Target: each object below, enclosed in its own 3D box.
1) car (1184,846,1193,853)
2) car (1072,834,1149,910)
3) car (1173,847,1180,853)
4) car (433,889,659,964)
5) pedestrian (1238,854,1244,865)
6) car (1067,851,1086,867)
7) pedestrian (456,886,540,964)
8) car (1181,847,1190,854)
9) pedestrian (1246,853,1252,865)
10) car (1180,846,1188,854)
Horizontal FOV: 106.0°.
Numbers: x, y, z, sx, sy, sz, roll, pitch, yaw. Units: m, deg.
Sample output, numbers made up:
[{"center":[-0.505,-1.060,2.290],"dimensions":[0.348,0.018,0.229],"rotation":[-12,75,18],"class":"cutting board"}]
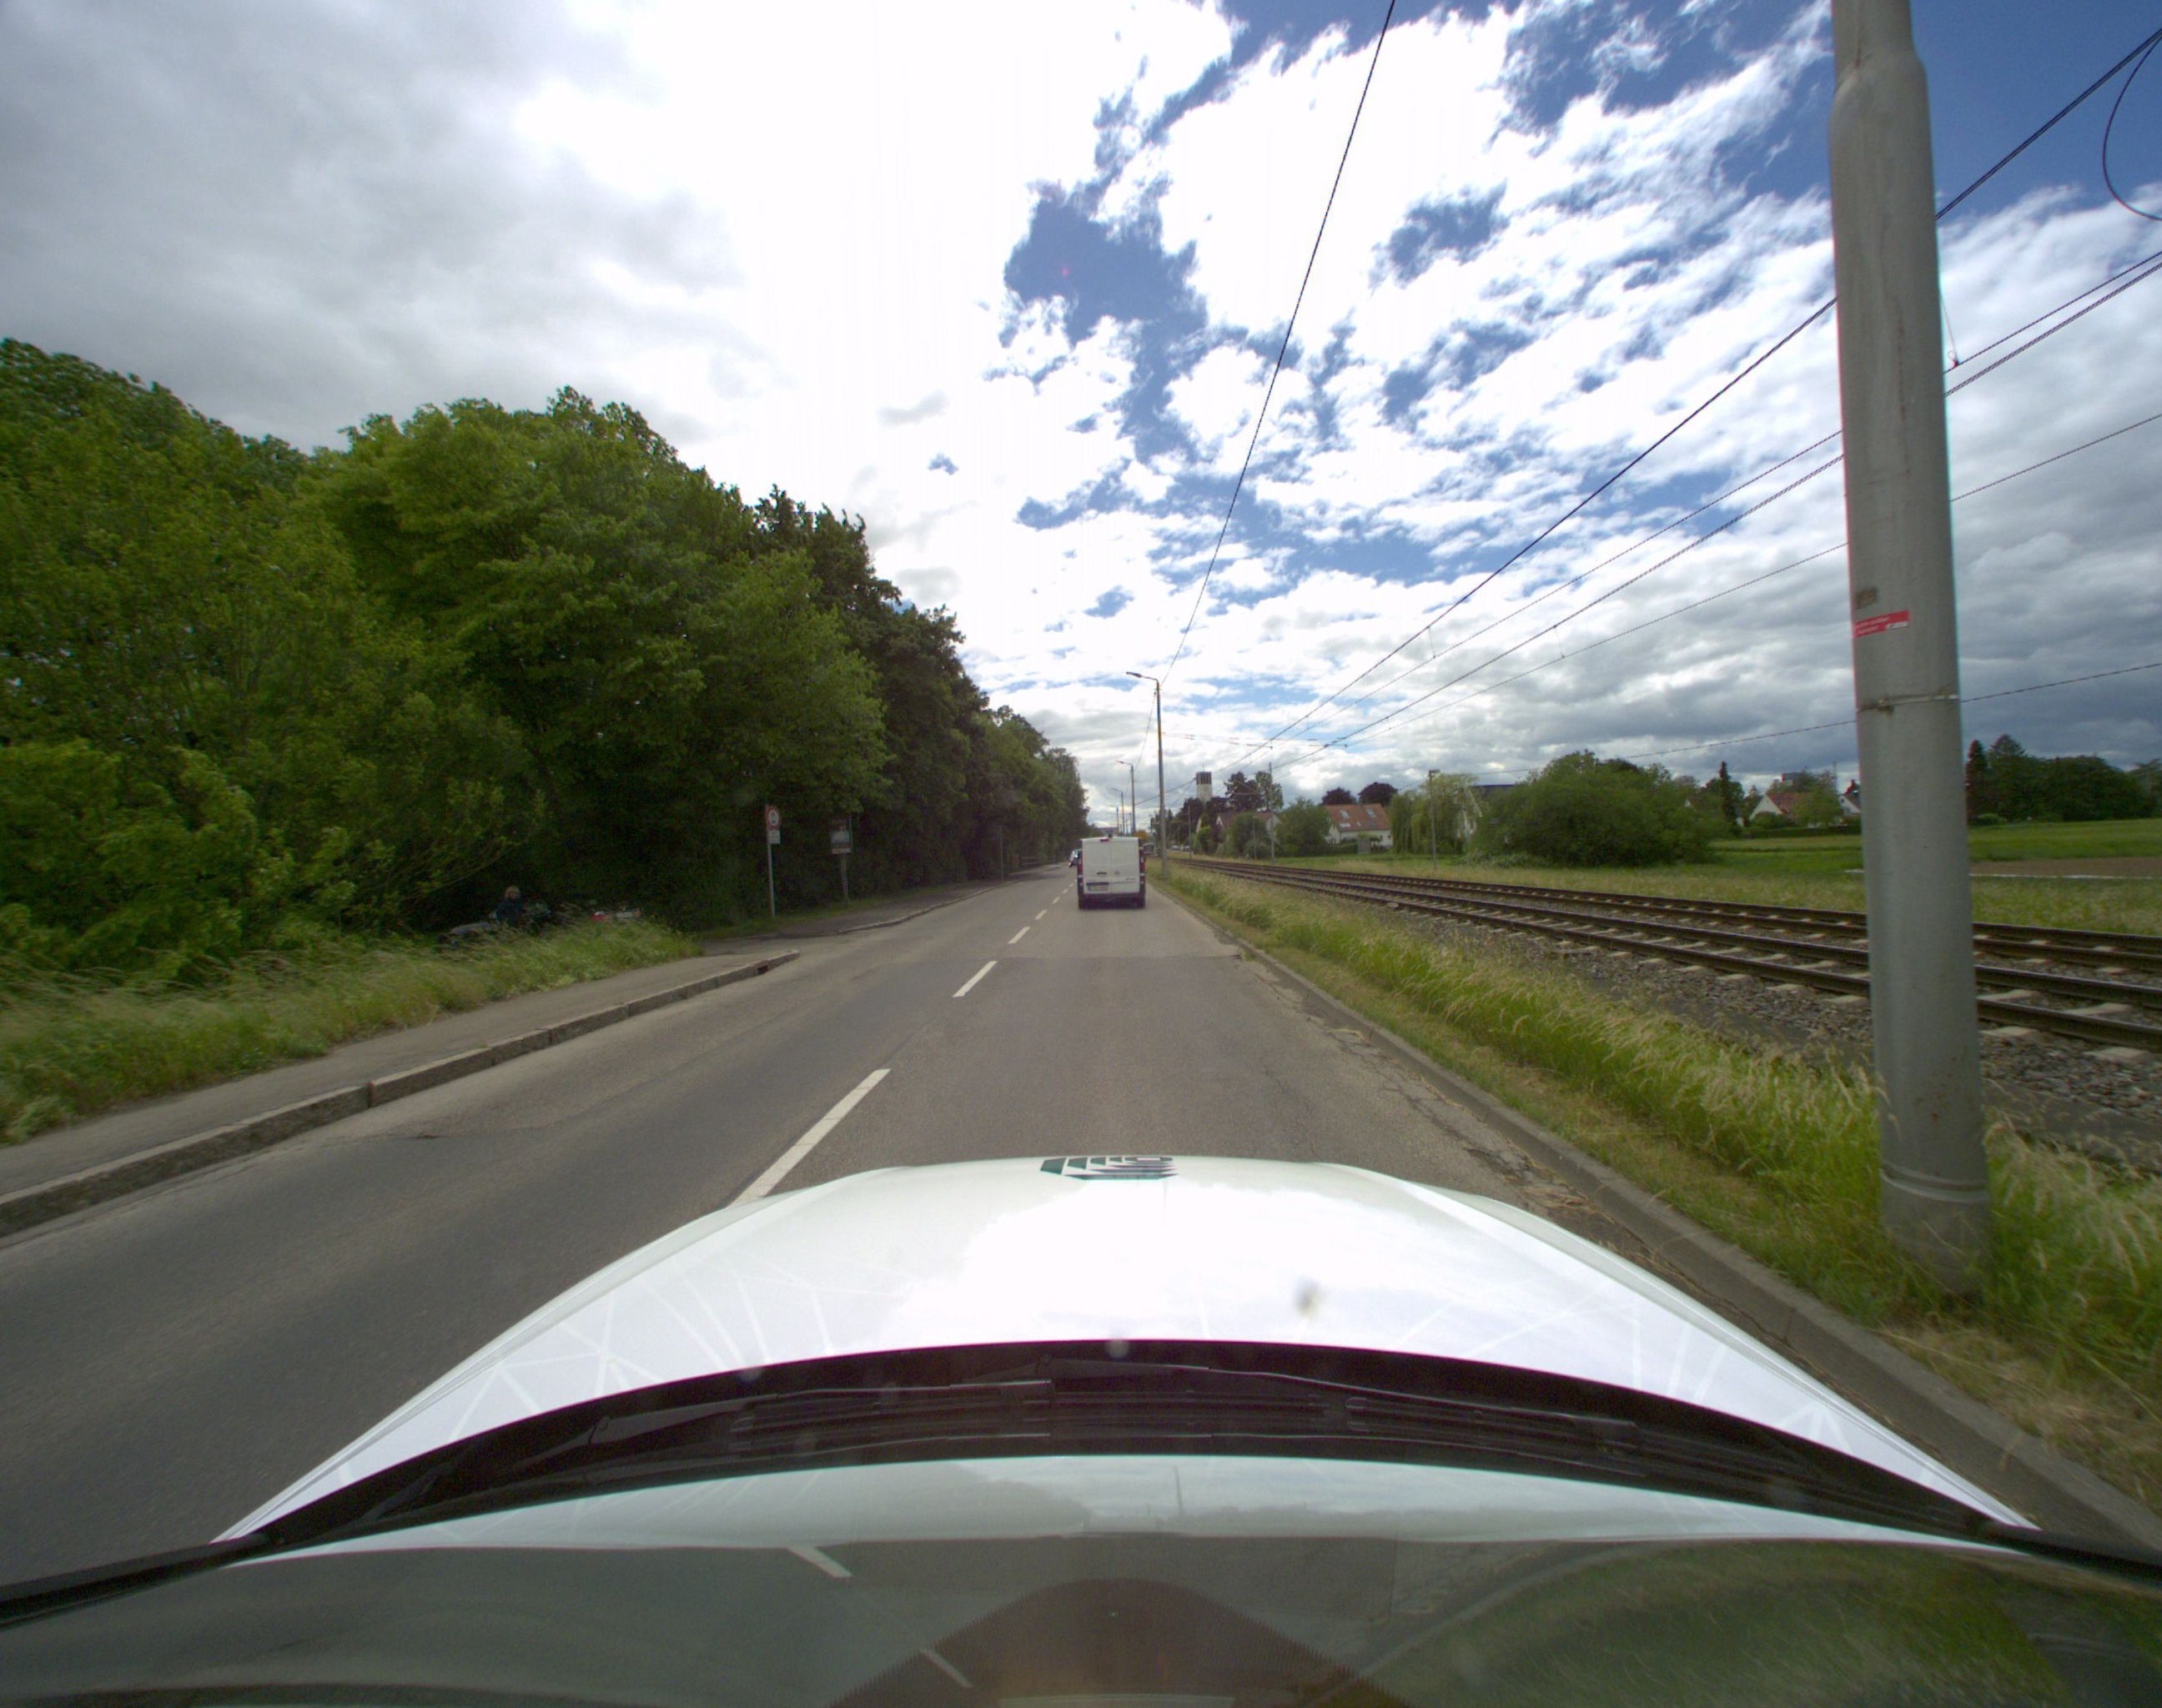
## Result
[{"center":[29.586,-1.146,223.490],"dimensions":[1.987,1.717,4.000],"rotation":[0,-2,1],"class":"car"},{"center":[0.797,0.437,23.472],"dimensions":[1.987,1.957,4.000],"rotation":[-1,1,0],"class":"car"},{"center":[30.063,-1.137,256.045],"dimensions":[1.987,1.816,4.000],"rotation":[0,-2,1],"class":"car"},{"center":[-12.194,1.633,18.722],"dimensions":[3.970,1.299,1.746],"rotation":[-4,-1,3],"class":"car"},{"center":[21.269,0.756,108.403],"dimensions":[0.654,1.506,0.657],"rotation":[-2,-1,1],"class":"pedestrian"},{"center":[-0.451,0.578,91.090],"dimensions":[1.987,1.717,4.123],"rotation":[-2,0,0],"class":"car"},{"center":[-12.393,1.496,17.353],"dimensions":[1.031,1.530,0.942],"rotation":[-3,-1,2],"class":"pedestrian"},{"center":[29.422,-1.085,229.533],"dimensions":[1.987,1.816,4.000],"rotation":[0,-2,1],"class":"car"},{"center":[22.306,0.680,108.108],"dimensions":[0.524,1.506,0.657],"rotation":[-2,-1,1],"class":"pedestrian"},{"center":[29.536,-1.140,233.879],"dimensions":[1.987,2.014,4.000],"rotation":[0,-2,1],"class":"car"}]
